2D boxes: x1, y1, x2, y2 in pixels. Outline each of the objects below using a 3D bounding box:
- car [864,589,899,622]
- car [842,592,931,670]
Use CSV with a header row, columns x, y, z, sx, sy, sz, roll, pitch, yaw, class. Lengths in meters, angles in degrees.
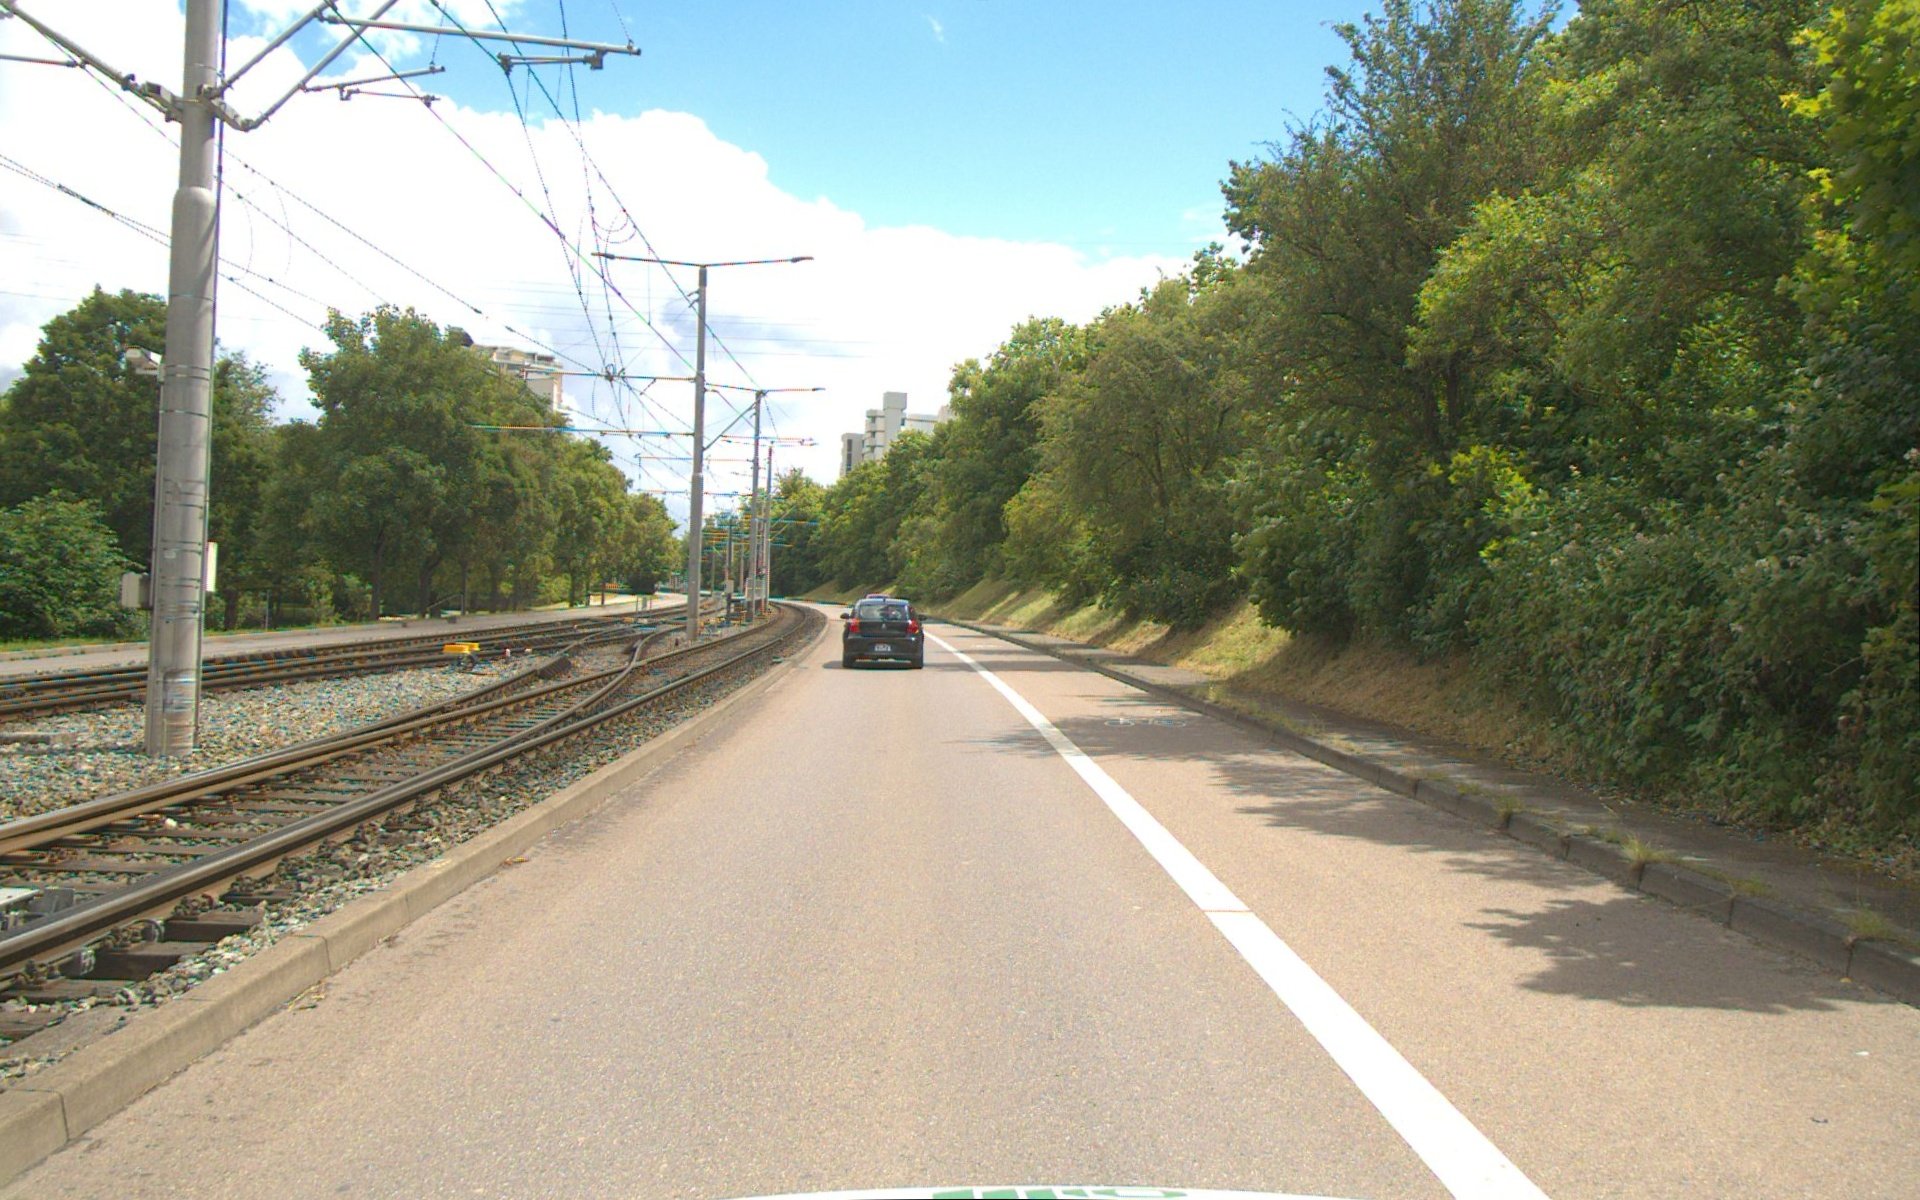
x,y,z,sx,sy,sz,roll,pitch,yaw,class
-3.834,0.246,80.423,1.592,1.468,3.419,3,1,-4,car
-1.518,0.644,35.456,1.673,1.486,3.959,3,-1,0,car
